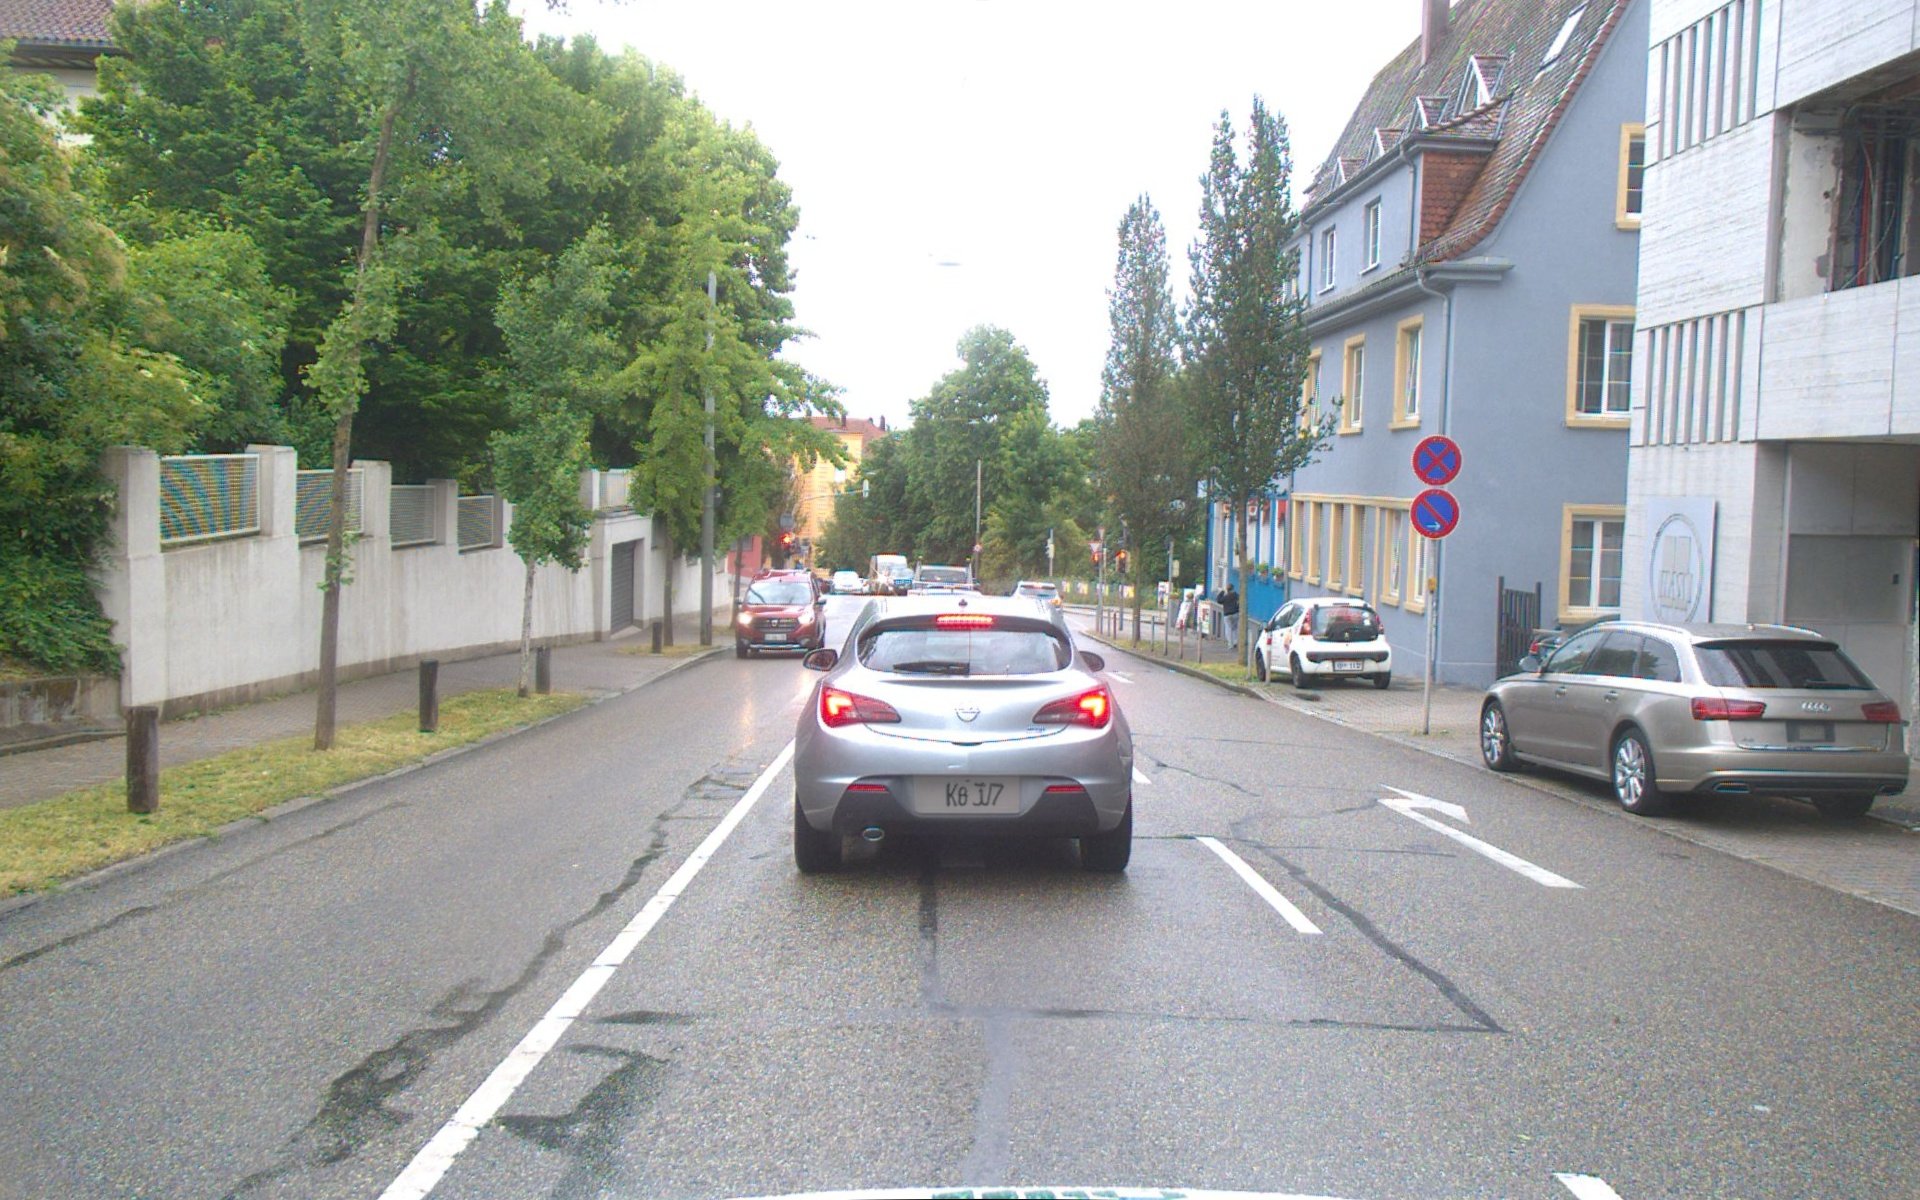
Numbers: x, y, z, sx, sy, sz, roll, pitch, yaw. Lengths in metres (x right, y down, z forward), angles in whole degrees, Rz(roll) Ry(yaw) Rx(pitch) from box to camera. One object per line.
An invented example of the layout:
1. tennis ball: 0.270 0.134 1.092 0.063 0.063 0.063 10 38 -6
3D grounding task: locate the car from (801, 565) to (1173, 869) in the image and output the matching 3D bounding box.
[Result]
1. car: 0.051 0.561 10.035 1.800 1.459 3.878 1 0 -3

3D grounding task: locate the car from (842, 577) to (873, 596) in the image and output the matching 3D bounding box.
1. car: -8.614 -1.172 139.235 1.696 1.570 3.859 0 0 -18

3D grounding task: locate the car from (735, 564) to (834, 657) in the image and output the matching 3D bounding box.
1. car: -3.725 0.215 35.741 1.711 1.860 4.458 -1 0 -1

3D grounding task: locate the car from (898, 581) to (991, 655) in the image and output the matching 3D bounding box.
1. car: -0.392 0.360 37.105 1.922 1.473 4.304 2 1 -2

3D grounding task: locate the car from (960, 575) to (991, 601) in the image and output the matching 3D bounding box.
1. car: 1.002 -0.784 108.939 1.689 1.666 3.876 0 0 -4

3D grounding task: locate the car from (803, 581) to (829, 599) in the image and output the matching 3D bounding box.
1. car: -13.775 -0.954 157.923 1.696 1.666 3.859 0 0 -18

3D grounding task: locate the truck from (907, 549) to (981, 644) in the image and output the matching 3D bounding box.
1. truck: -0.511 -0.123 47.103 1.922 2.471 4.934 2 1 -2

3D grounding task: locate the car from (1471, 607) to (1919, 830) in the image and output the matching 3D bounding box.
1. car: 6.058 0.850 13.920 1.923 1.473 4.524 1 1 -3

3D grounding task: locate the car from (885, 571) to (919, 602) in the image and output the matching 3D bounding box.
1. car: -3.252 -0.750 92.581 1.833 1.666 3.878 0 0 -2

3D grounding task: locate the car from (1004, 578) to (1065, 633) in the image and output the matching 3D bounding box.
1. car: 2.455 0.161 55.179 1.688 1.744 3.878 0 0 -3

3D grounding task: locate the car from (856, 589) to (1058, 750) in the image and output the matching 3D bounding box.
1. car: -0.096 0.669 18.347 1.922 1.473 4.304 2 1 -2

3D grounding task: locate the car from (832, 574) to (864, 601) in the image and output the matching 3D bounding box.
1. car: -6.323 -0.708 93.740 1.688 1.485 3.878 0 0 -2

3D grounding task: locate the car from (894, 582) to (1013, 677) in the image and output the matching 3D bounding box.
1. car: -0.174 0.470 29.448 1.922 1.473 4.304 2 1 -2

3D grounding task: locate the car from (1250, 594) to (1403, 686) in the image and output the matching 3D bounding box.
1. car: 6.293 0.643 28.804 1.688 1.473 3.878 0 0 -2

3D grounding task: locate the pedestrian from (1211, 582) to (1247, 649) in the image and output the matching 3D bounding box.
1. pedestrian: 7.182 0.409 44.182 0.767 1.759 0.650 2 0 -1

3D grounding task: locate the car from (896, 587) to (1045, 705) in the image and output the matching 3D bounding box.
1. car: 0.069 0.596 24.071 1.922 1.473 4.304 2 1 -2

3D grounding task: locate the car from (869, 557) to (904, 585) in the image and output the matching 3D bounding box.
1. car: -4.485 -1.753 100.199 1.691 1.666 3.871 0 0 -9
